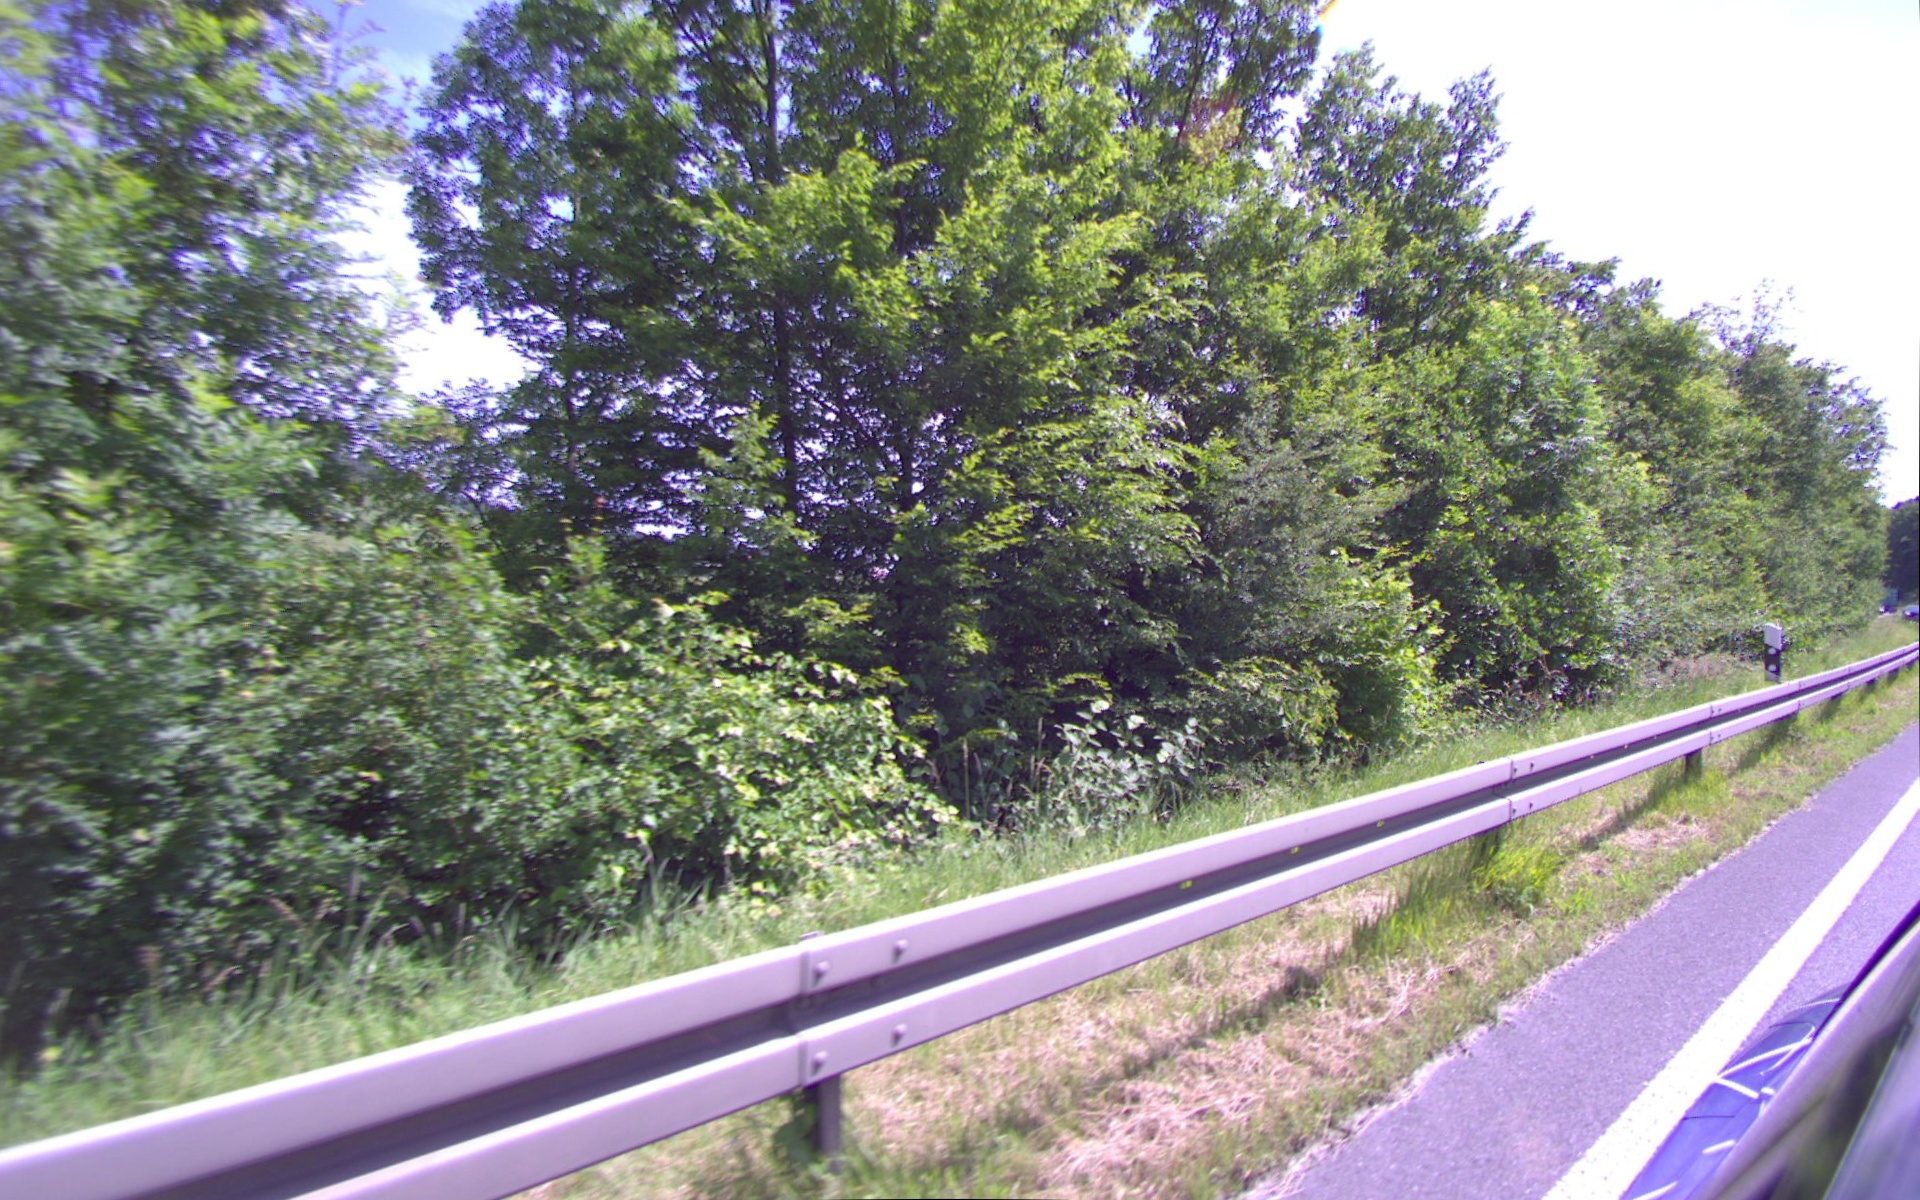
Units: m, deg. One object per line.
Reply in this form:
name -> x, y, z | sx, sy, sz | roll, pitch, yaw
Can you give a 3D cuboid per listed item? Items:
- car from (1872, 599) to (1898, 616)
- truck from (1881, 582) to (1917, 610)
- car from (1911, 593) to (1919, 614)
car -> 114.178, 0.927, 124.952 | 1.989, 2.039, 3.946 | -1, -1, 37
truck -> 142.335, -0.551, 153.563 | 2.555, 3.990, 15.936 | -1, -1, 38
car -> 92.749, 0.303, 97.041 | 1.990, 2.039, 3.943 | -1, -1, 39
